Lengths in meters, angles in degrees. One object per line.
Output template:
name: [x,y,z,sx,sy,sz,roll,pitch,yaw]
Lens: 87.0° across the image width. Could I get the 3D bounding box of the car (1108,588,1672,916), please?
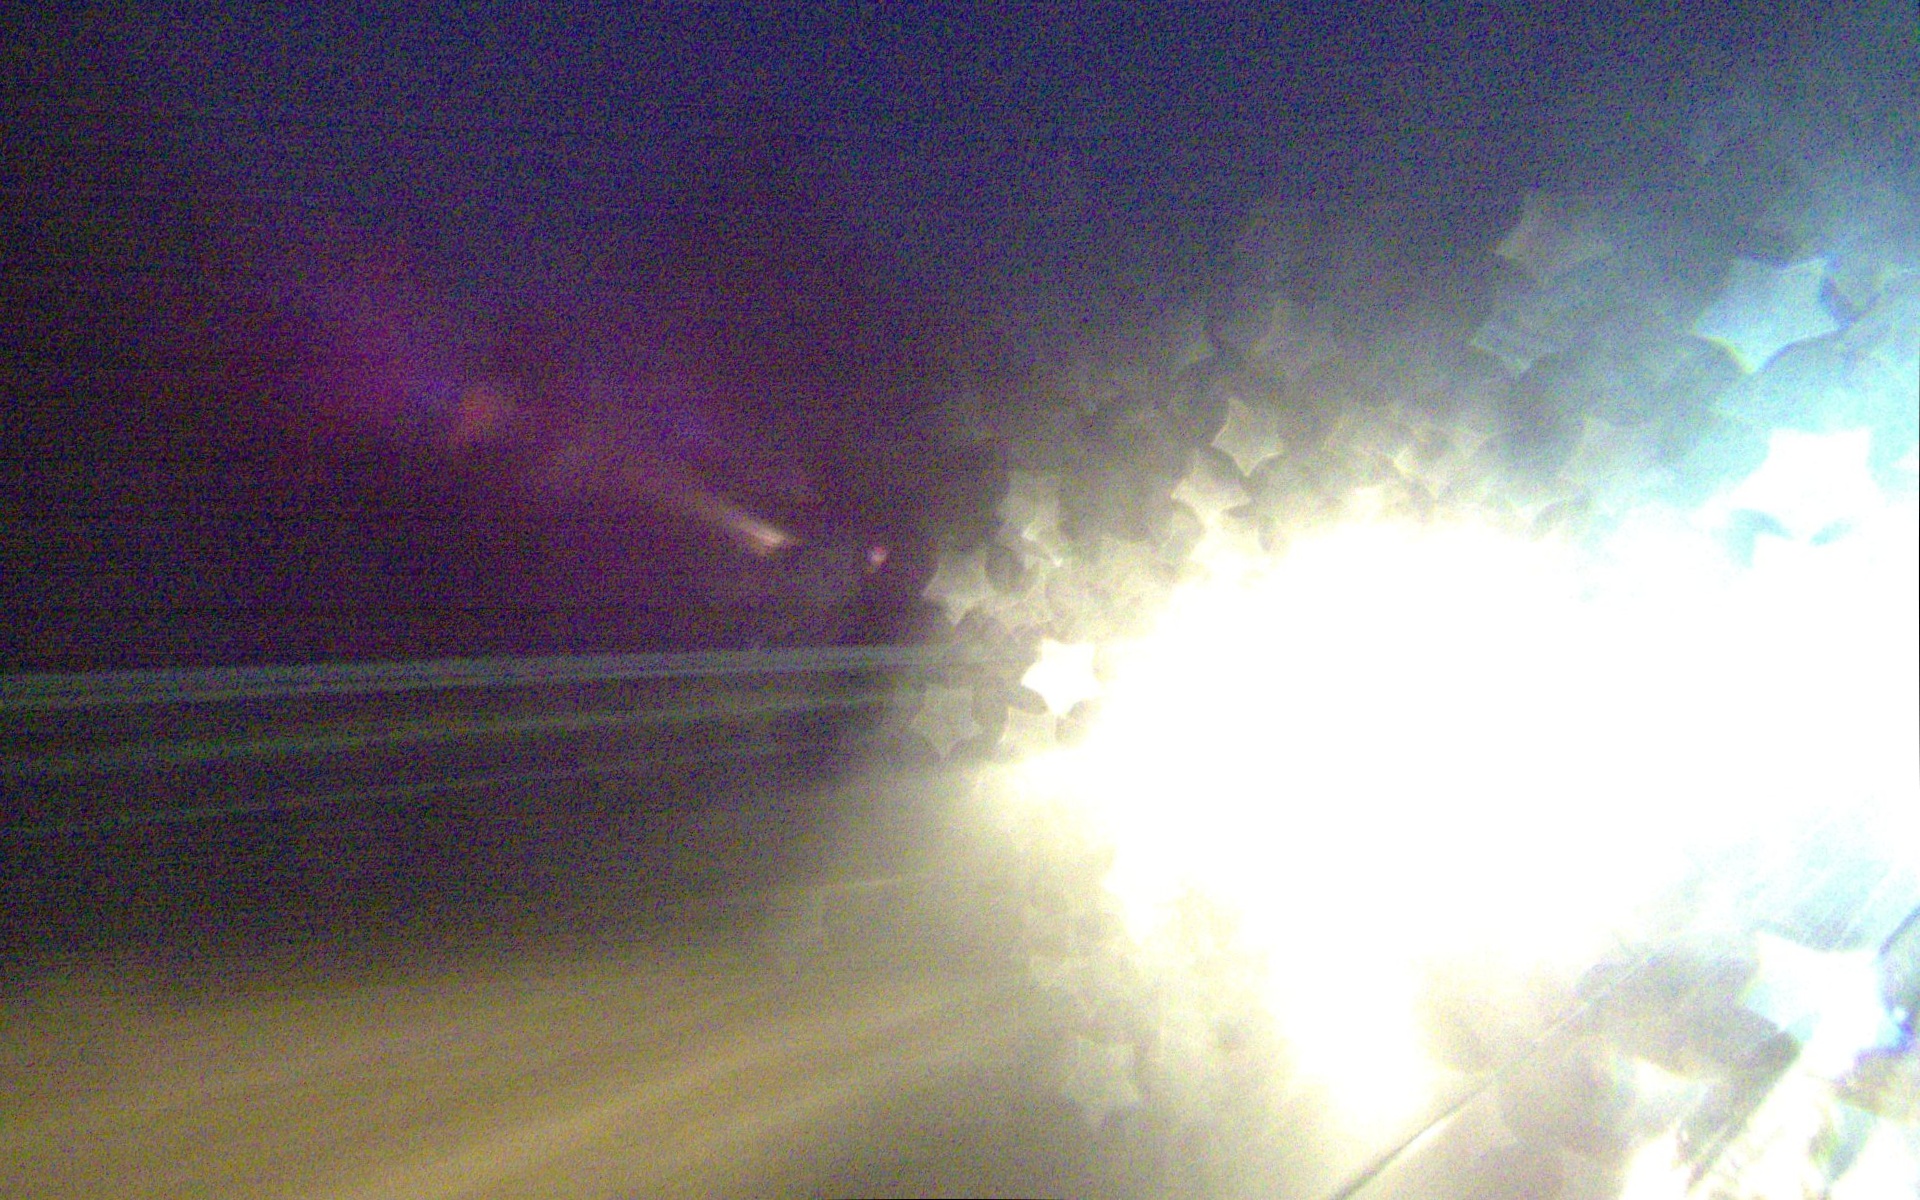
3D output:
car: [2.990,0.675,6.595,4.122,1.476,1.773,0,0,-41]
